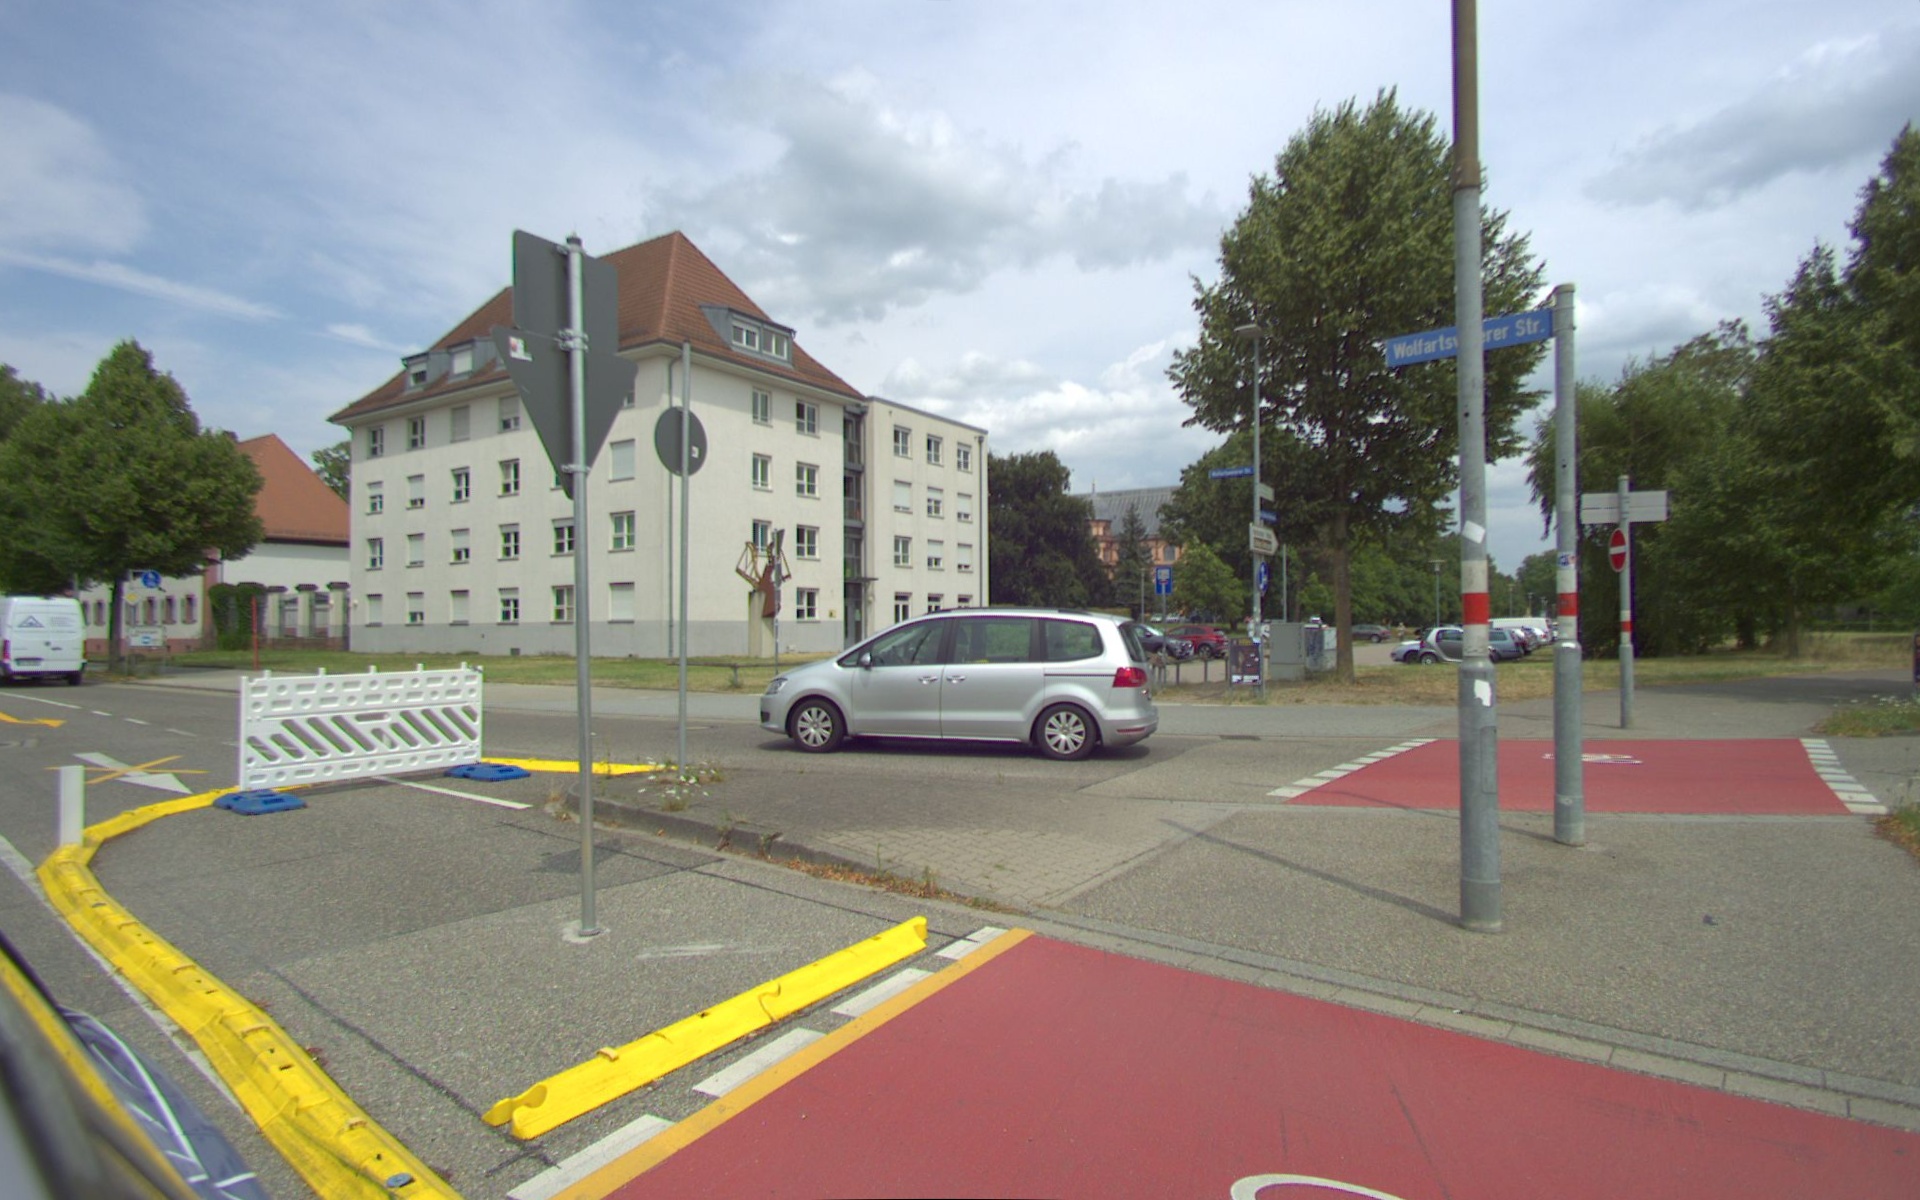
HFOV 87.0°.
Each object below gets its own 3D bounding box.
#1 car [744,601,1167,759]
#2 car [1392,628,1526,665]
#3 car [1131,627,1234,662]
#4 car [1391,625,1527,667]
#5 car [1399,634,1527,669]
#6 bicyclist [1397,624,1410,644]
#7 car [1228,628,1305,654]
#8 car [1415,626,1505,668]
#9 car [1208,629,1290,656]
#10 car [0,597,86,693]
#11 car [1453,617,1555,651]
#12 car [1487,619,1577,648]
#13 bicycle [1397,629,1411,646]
[{"bbox_3d":[0.009,0.898,11.934,4.701,1.635,1.794,-1,-2,14],"label":"car"},{"bbox_3d":[21.024,1.941,42.696,4.875,1.482,1.812,-2,-2,34],"label":"car"},{"bbox_3d":[10.548,2.088,48.053,4.396,1.610,1.977,-2,-2,35],"label":"car"},{"bbox_3d":[19.810,1.838,40.221,4.689,1.482,1.814,-4,-3,31],"label":"car"},{"bbox_3d":[22.196,2.252,44.763,4.875,1.482,1.812,-2,-2,34],"label":"car"},{"bbox_3d":[32.472,2.488,74.043,0.776,1.415,0.722,-2,-2,29],"label":"bicyclist"},{"bbox_3d":[18.028,2.423,59.624,3.994,1.479,1.798,-1,-2,32],"label":"car"},{"bbox_3d":[18.704,1.772,37.946,2.901,1.434,1.470,-4,-4,27],"label":"car"},{"bbox_3d":[16.072,2.368,56.317,3.994,1.479,1.798,-2,-2,32],"label":"car"},{"bbox_3d":[-29.044,1.353,31.076,5.959,2.706,2.046,-2,-2,36],"label":"car"},{"bbox_3d":[34.199,2.146,63.646,5.551,2.072,2.177,-1,-2,32],"label":"car"},{"bbox_3d":[41.431,2.428,73.336,5.555,2.072,2.176,-2,-2,34],"label":"car"},{"bbox_3d":[32.569,2.724,74.215,0.776,1.185,2.207,-2,-2,29],"label":"bicycle"}]
